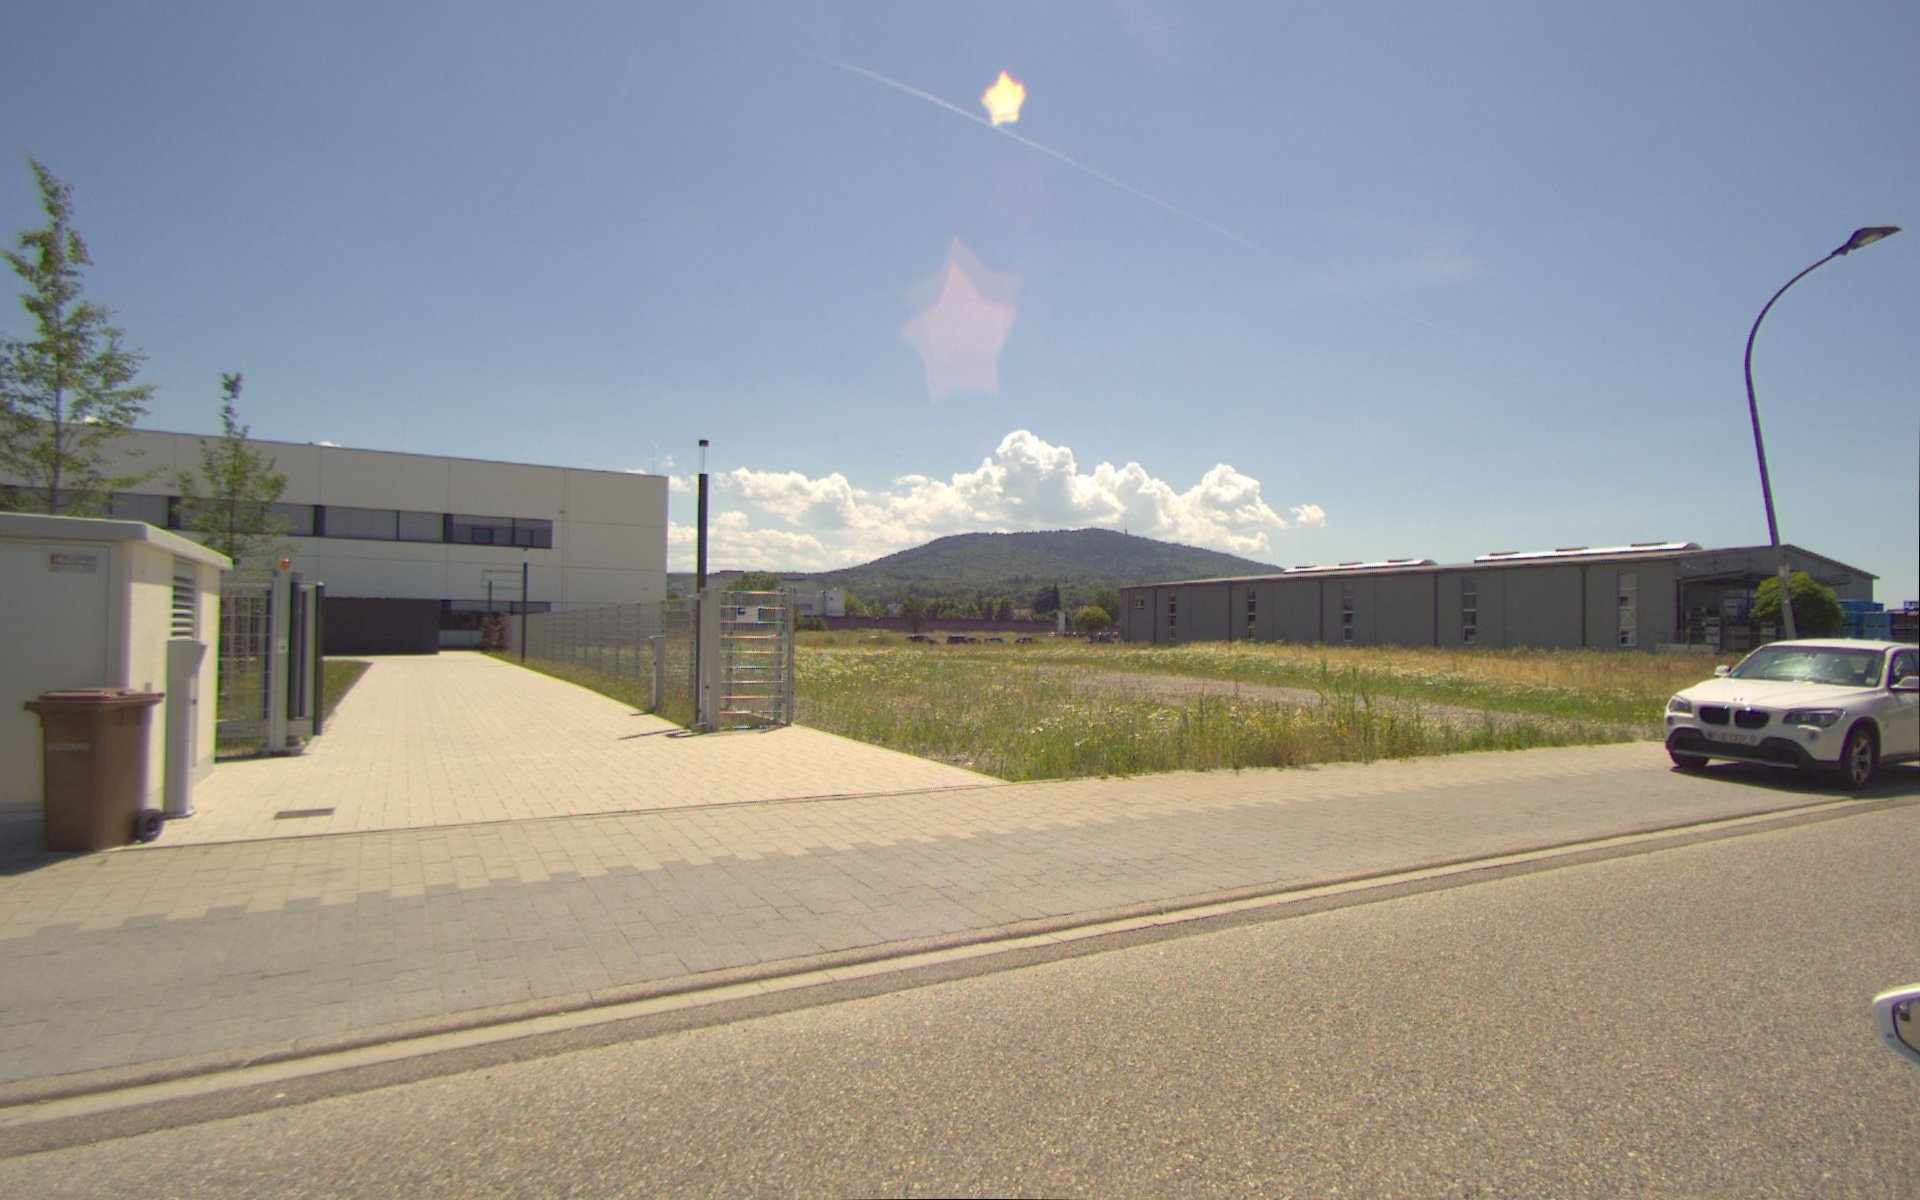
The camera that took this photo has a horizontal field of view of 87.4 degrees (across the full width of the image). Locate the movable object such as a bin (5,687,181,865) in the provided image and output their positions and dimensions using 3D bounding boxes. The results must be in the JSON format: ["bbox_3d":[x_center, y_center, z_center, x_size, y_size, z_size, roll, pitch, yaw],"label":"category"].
[{"bbox_3d":[-5.215,1.033,6.068,0.506,0.958,0.604,1,-1,11],"label":"movable object such as a bin"}]

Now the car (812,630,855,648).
[{"bbox_3d":[-15.312,4.743,121.562,4.863,2.040,1.984,2,-3,-30],"label":"car"}]

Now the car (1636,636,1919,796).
[{"bbox_3d":[10.136,1.251,11.858,4.310,1.563,1.780,2,-1,-28],"label":"car"}]

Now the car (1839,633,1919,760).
[{"bbox_3d":[14.504,1.362,14.432,3.725,1.678,1.778,2,-1,-31],"label":"car"}]
